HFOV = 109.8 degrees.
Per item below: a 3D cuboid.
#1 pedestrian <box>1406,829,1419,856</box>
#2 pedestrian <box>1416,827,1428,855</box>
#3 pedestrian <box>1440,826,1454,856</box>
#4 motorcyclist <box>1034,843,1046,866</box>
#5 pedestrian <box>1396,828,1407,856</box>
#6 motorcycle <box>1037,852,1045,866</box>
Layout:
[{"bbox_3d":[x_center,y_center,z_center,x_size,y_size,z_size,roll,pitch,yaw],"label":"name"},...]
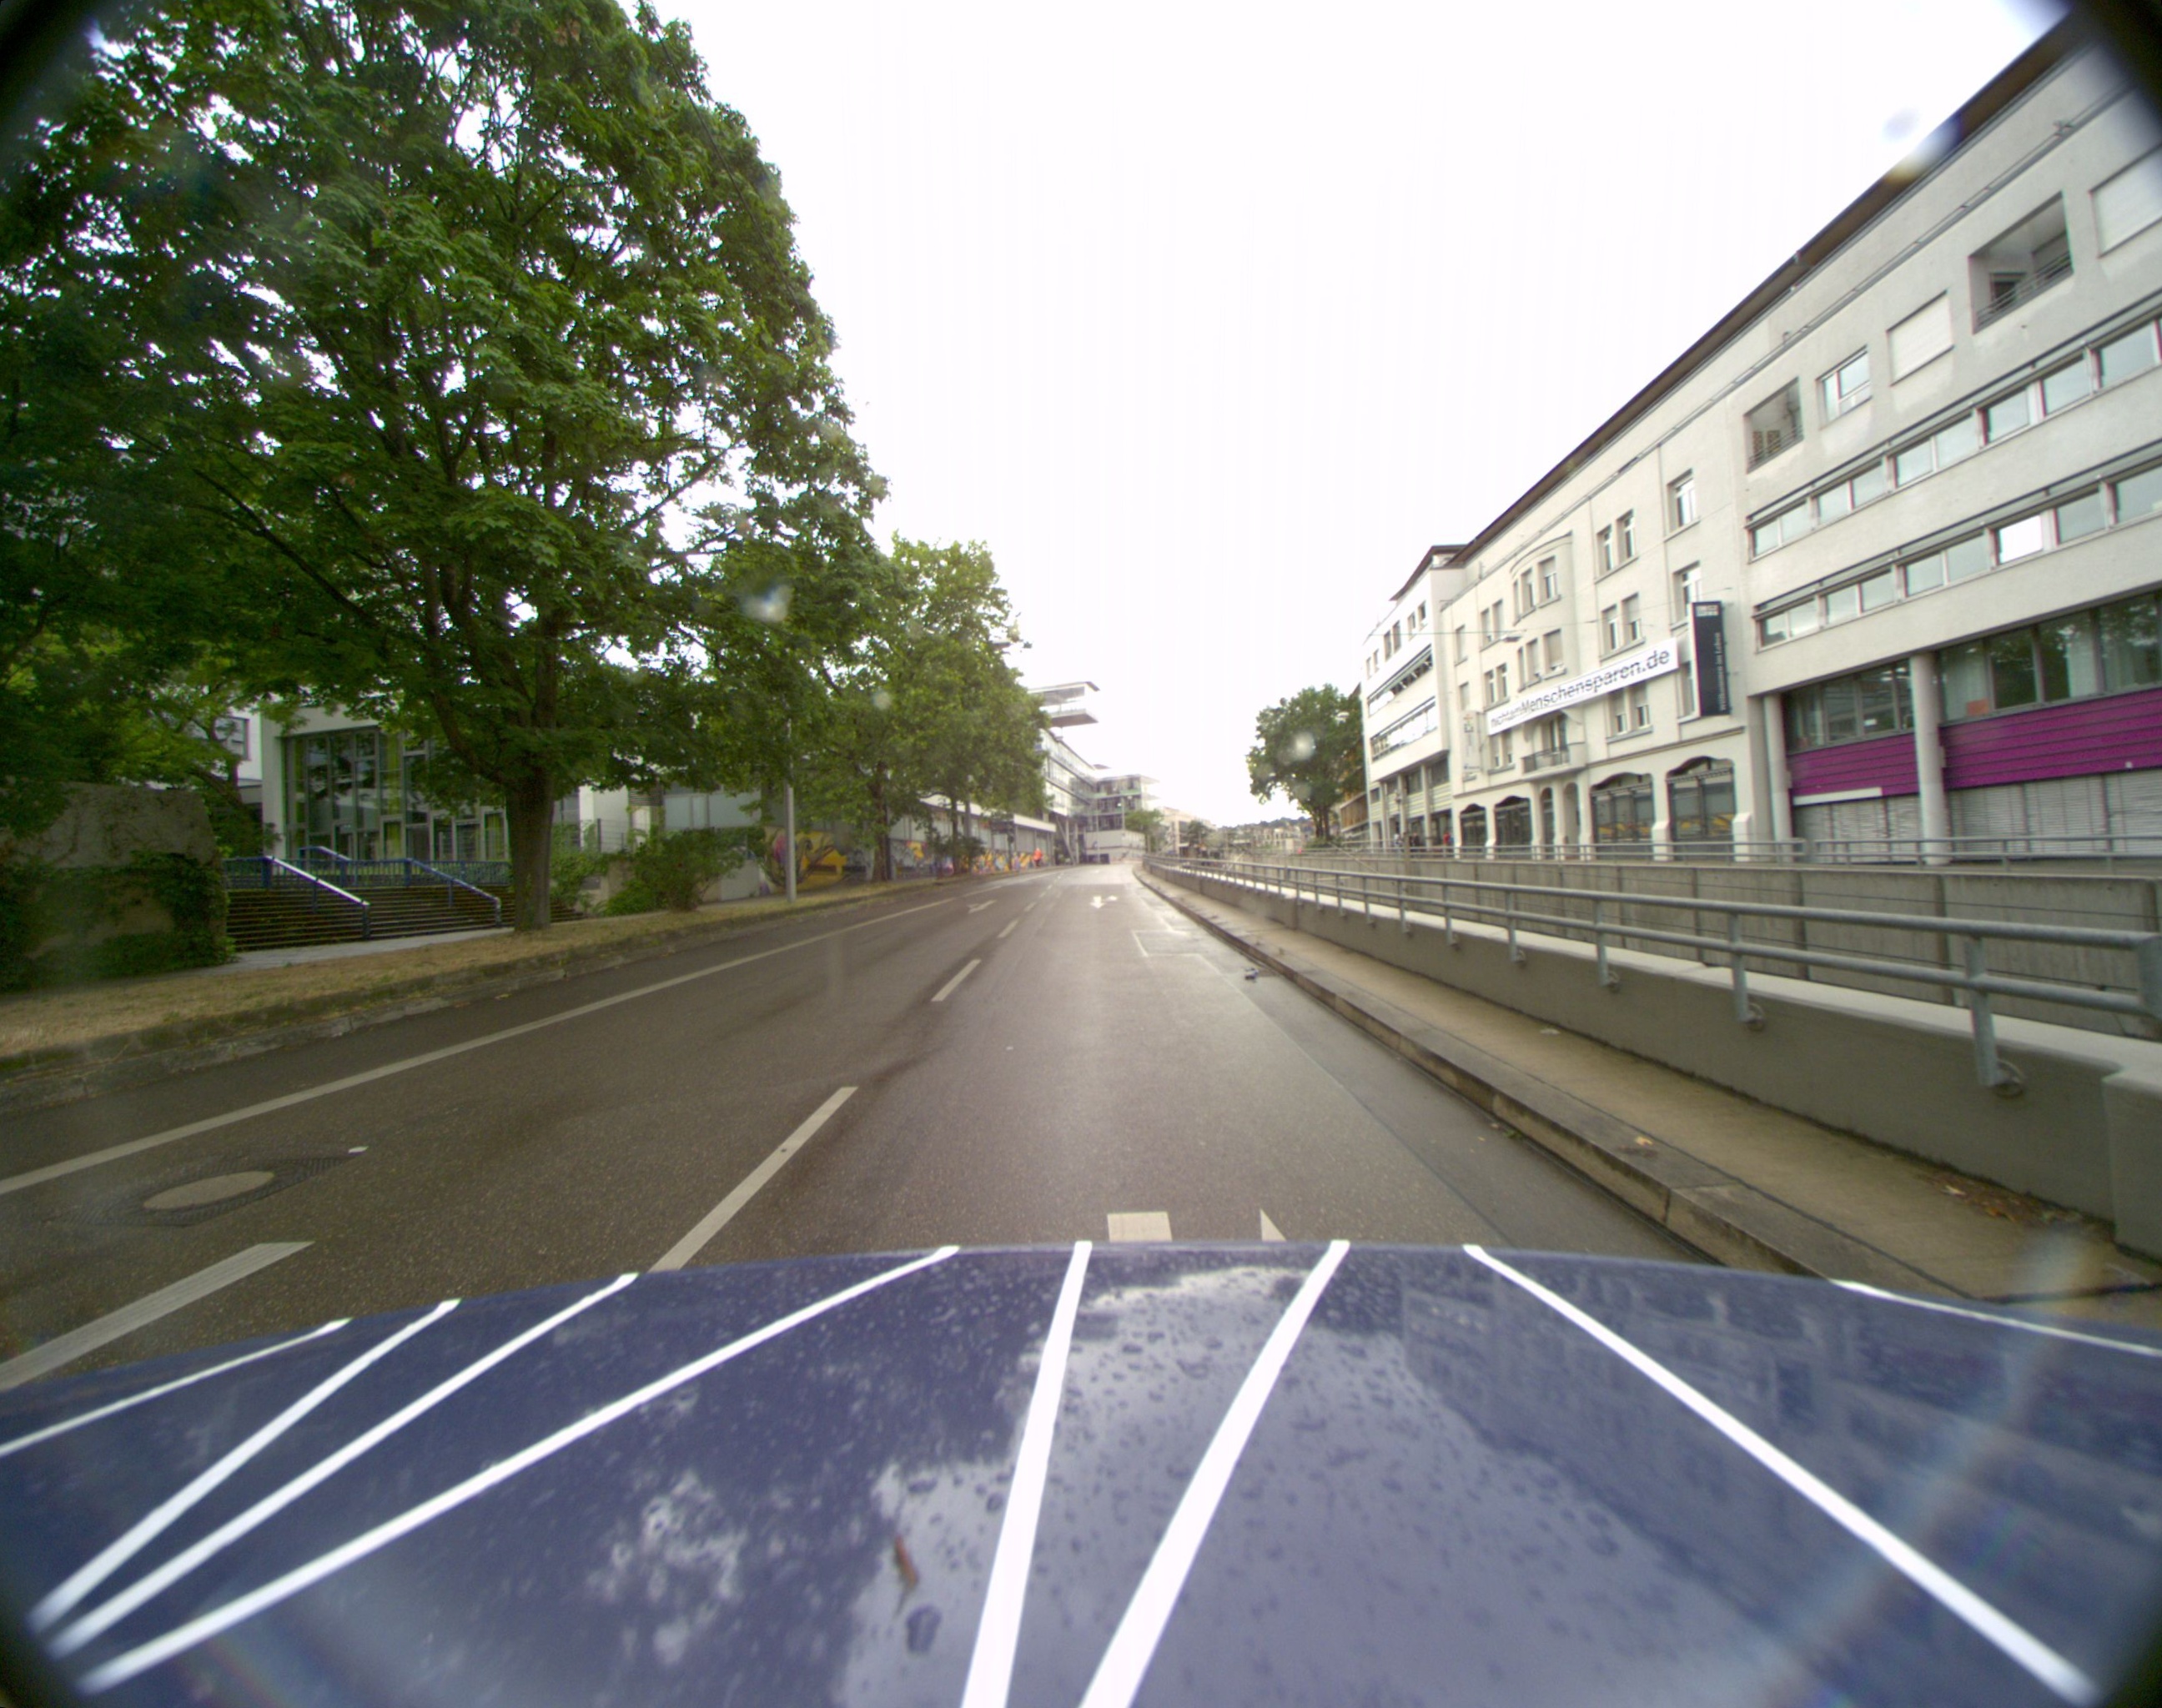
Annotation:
[{"bbox_3d":[22.477,-0.782,51.564,0.547,1.792,0.470,-4,1,-7],"label":"pedestrian"},{"bbox_3d":[22.568,-0.857,50.302,0.470,1.792,0.547,-4,1,3],"label":"pedestrian"},{"bbox_3d":[22.821,-0.801,47.363,0.470,1.792,0.547,-4,1,0],"label":"pedestrian"},{"bbox_3d":[-3.617,0.075,67.607,0.754,2.002,1.002,-4,1,9],"label":"motorcyclist"},{"bbox_3d":[21.605,-0.804,51.244,0.469,1.792,0.548,-4,1,8],"label":"pedestrian"},{"bbox_3d":[-3.569,0.441,67.614,0.469,1.218,1.019,-4,0,9],"label":"motorcycle"}]
